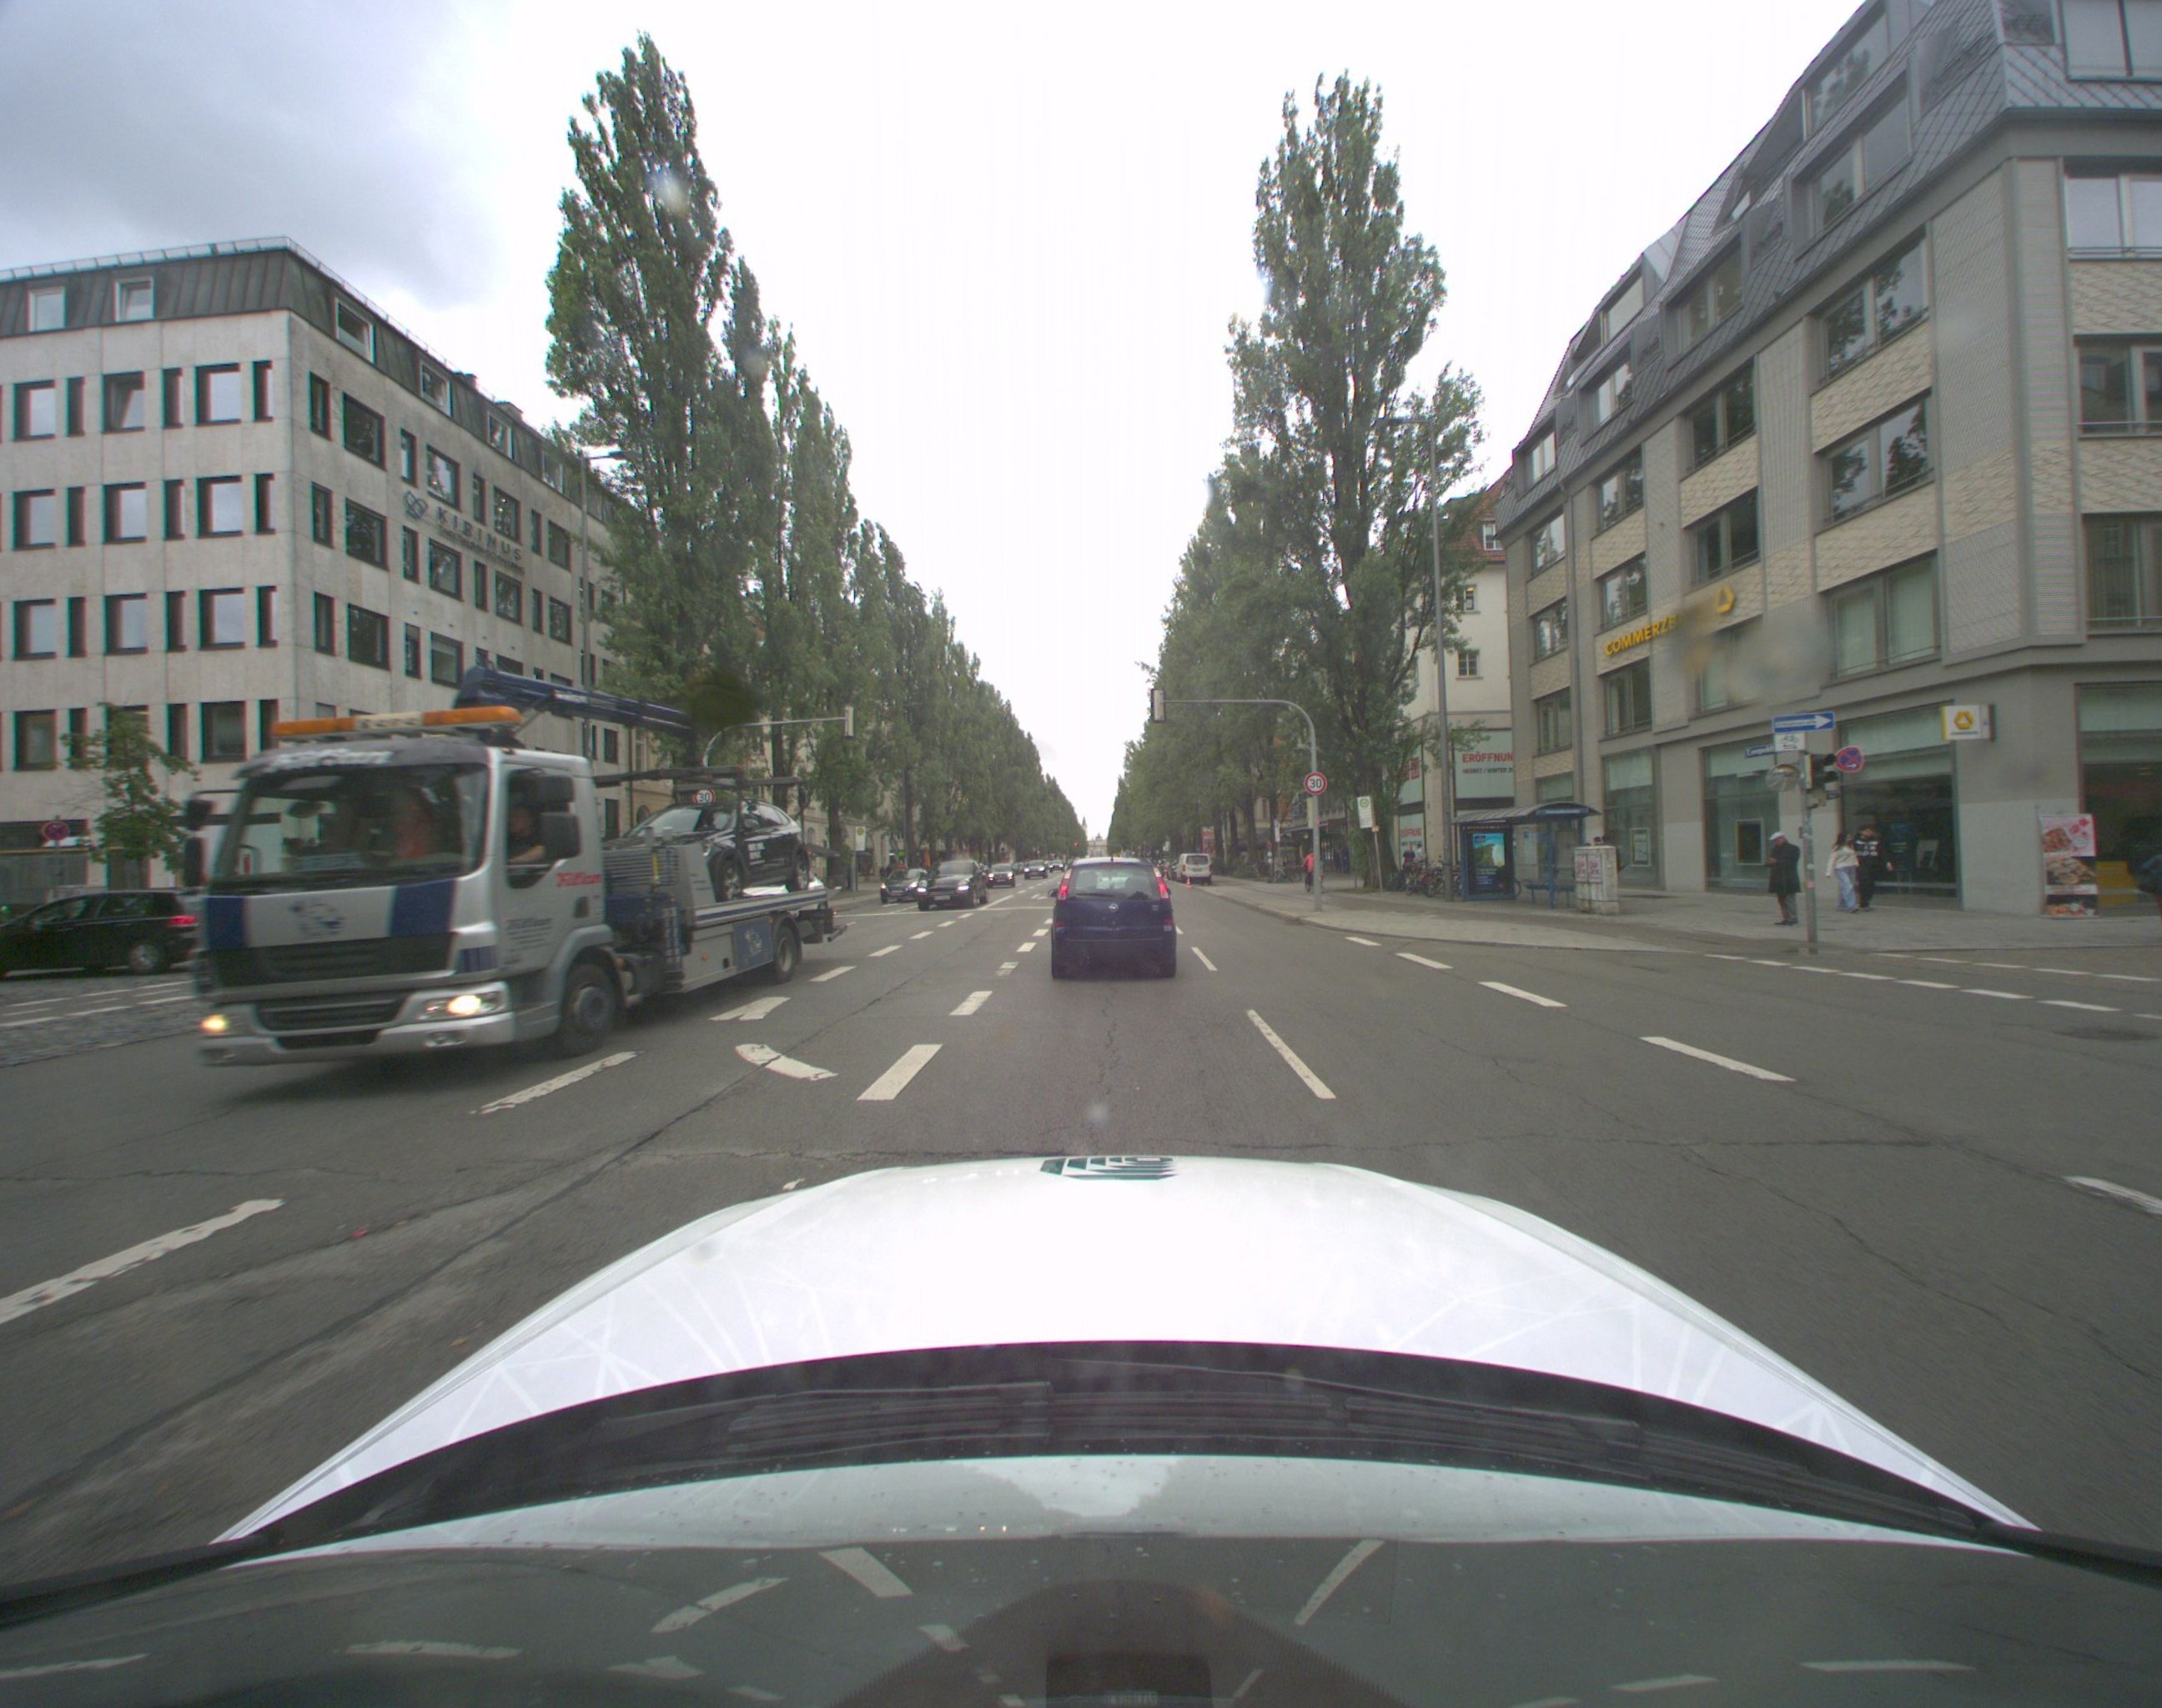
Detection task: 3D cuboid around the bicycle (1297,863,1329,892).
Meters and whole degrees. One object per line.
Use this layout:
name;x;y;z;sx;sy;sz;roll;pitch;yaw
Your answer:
bicycle;9.210;0.922;32.446;0.624;1.087;2.263;-2;-1;0

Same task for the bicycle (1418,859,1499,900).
bicycle;12.279;0.826;26.517;2.335;1.252;0.633;-1;-1;0

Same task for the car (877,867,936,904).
car;-7.670;1.348;36.133;1.636;1.439;3.997;-3;0;0

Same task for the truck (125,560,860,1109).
truck;-5.163;-0.114;9.762;2.454;3.670;8.441;-2;0;1

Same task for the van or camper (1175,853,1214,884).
van or camper;7.231;0.907;52.431;1.862;1.883;4.903;-1;-1;1

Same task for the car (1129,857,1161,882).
car;4.176;0.996;53.526;1.701;1.574;3.999;-2;0;-1

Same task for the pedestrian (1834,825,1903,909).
pedestrian;16.991;0.285;17.585;0.747;1.758;0.711;-1;-1;2

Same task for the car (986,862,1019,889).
car;-4.803;1.276;49.959;1.556;1.496;3.694;-3;0;0

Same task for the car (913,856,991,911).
car;-4.448;0.984;28.814;1.877;1.746;4.441;-2;0;2

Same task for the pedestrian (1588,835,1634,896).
pedestrian;15.683;0.342;24.111;0.747;1.758;0.859;-2;-3;2

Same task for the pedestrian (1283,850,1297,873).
pedestrian;16.963;0.602;66.138;0.823;1.841;1.100;-2;-1;2

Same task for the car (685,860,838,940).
car;-7.855;1.057;20.563;1.830;1.716;4.637;-2;-1;2

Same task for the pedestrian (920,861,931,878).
pedestrian;-16.259;1.575;85.309;0.848;1.744;1.148;-1;-1;1

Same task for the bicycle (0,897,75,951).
bicycle;-25.542;1.669;19.753;0.416;1.184;1.996;-1;-1;-18

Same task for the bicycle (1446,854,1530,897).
bicycle;12.323;0.659;24.697;2.219;1.252;0.480;-2;-1;25

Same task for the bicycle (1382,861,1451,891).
bicycle;12.055;0.783;29.302;2.141;1.017;0.874;-1;-1;0

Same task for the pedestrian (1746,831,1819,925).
pedestrian;13.457;0.452;15.641;0.705;1.758;0.753;-1;-1;2

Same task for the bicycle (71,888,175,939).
bicycle;-25.061;1.553;21.318;2.124;1.249;0.558;-1;-1;3

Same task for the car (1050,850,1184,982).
car;0.464;0.793;12.309;1.675;1.641;4.000;-1;0;0

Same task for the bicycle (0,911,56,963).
bicycle;-26.912;2.089;20.347;0.450;1.184;2.053;-1;0;-14

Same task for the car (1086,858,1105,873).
car;1.523;1.248;86.961;1.987;1.497;4.000;-1;0;0

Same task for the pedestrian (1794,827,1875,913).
pedestrian;16.163;0.334;17.496;0.747;1.758;1.018;-2;0;2

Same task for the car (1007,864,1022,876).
car;-8.306;1.998;101.634;1.626;1.428;2.983;-2;-1;0

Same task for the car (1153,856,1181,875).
car;7.217;0.927;68.710;1.812;1.506;4.229;-2;-1;-2

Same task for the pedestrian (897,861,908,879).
pedestrian;-16.918;1.554;77.092;0.731;1.673;0.953;-1;-1;1

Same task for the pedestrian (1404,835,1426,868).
pedestrian;17.682;-0.146;43.127;0.747;1.718;0.963;-2;-1;1

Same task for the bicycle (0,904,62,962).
bicycle;-23.529;1.733;17.761;0.414;1.184;1.850;-1;-1;-5

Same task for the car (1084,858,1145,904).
car;1.146;0.919;29.282;1.987;1.497;4.000;-2;0;0

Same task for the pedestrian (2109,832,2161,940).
pedestrian;16.850;0.481;12.616;0.747;1.636;0.734;-3;-3;3

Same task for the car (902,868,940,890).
car;-10.180;1.583;52.112;1.875;1.298;4.089;-1;0;-4

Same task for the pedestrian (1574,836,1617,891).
pedestrian;16.413;0.302;25.981;0.747;1.718;0.963;-1;0;2

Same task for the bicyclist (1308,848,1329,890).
bicyclist;9.187;0.591;31.518;0.619;1.588;0.391;-2;-1;0

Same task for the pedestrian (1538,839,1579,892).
pedestrian;15.524;0.358;26.509;0.747;1.677;0.963;-2;-1;2

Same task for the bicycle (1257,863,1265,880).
bicycle;11.078;1.082;50.202;0.362;1.038;1.735;-2;0;9

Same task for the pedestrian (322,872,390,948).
pedestrian;-17.128;1.312;19.257;0.724;1.740;0.942;0;-1;1

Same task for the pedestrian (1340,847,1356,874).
pedestrian;18.493;0.436;56.317;0.861;1.829;0.841;-2;-1;28

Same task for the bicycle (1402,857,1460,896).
bicycle;11.685;0.743;27.191;1.718;1.239;0.450;-2;-1;2

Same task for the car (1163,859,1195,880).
car;6.926;1.092;57.988;1.714;1.442;4.352;0;0;-1

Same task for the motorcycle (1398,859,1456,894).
motorcycle;11.795;0.763;27.761;1.718;1.140;0.510;-2;-1;2

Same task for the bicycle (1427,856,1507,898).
bicycle;12.271;0.728;25.909;2.307;1.252;0.477;-1;-1;0

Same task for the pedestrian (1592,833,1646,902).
pedestrian;14.449;0.362;21.908;0.815;1.818;0.890;-1;-1;-1

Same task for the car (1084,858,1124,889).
car;1.184;0.990;43.377;1.987;1.497;4.000;-2;0;0

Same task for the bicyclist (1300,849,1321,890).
bicyclist;9.200;0.607;32.657;0.619;1.588;0.753;-2;-1;0

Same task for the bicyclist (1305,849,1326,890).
bicyclist;9.194;0.597;31.903;0.619;1.588;0.481;-2;-1;0

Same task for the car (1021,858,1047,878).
car;-4.182;1.220;73.404;1.906;1.681;4.587;-1;0;1

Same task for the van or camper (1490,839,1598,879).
van or camper;22.158;0.247;39.105;4.085;1.867;1.900;0;-1;5

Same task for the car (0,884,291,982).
car;-16.765;1.347;14.397;3.686;1.475;1.769;-2;0;-5

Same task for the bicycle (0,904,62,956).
bicycle;-26.466;1.880;19.819;0.412;1.184;2.073;-2;0;17

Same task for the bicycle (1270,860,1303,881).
bicycle;11.469;0.905;45.414;1.737;1.110;0.447;-1;-1;-9

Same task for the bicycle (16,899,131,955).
bicycle;-24.513;1.751;19.871;0.414;1.184;2.029;-2;0;-5

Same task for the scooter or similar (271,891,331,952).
scooter or similar;-17.847;1.536;18.625;1.349;1.339;0.440;-2;-1;21

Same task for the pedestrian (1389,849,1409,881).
pedestrian;16.871;0.593;43.179;0.649;1.663;0.963;-1;-1;1

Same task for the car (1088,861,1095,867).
car;2.736;2.546;211.799;1.955;1.399;3.779;-2;-1;1

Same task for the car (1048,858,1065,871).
car;-3.262;1.429;109.551;1.928;1.623;4.337;-1;0;1

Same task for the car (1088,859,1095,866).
car;2.809;2.232;216.578;1.829;1.761;3.779;-2;-1;1

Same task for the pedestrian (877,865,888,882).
pedestrian;-18.366;1.823;75.220;0.766;1.537;0.805;-1;-1;0

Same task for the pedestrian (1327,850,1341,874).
pedestrian;17.723;0.566;57.035;0.666;1.609;0.773;-5;1;8

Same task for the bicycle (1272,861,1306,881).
bicycle;11.408;0.943;44.724;1.758;1.044;0.482;-1;-1;-11

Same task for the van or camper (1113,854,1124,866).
van or camper;8.643;1.325;188.855;2.468;2.581;5.846;-2;-1;1

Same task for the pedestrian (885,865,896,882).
pedestrian;-17.507;1.812;74.886;0.766;1.537;0.805;-1;-1;0
